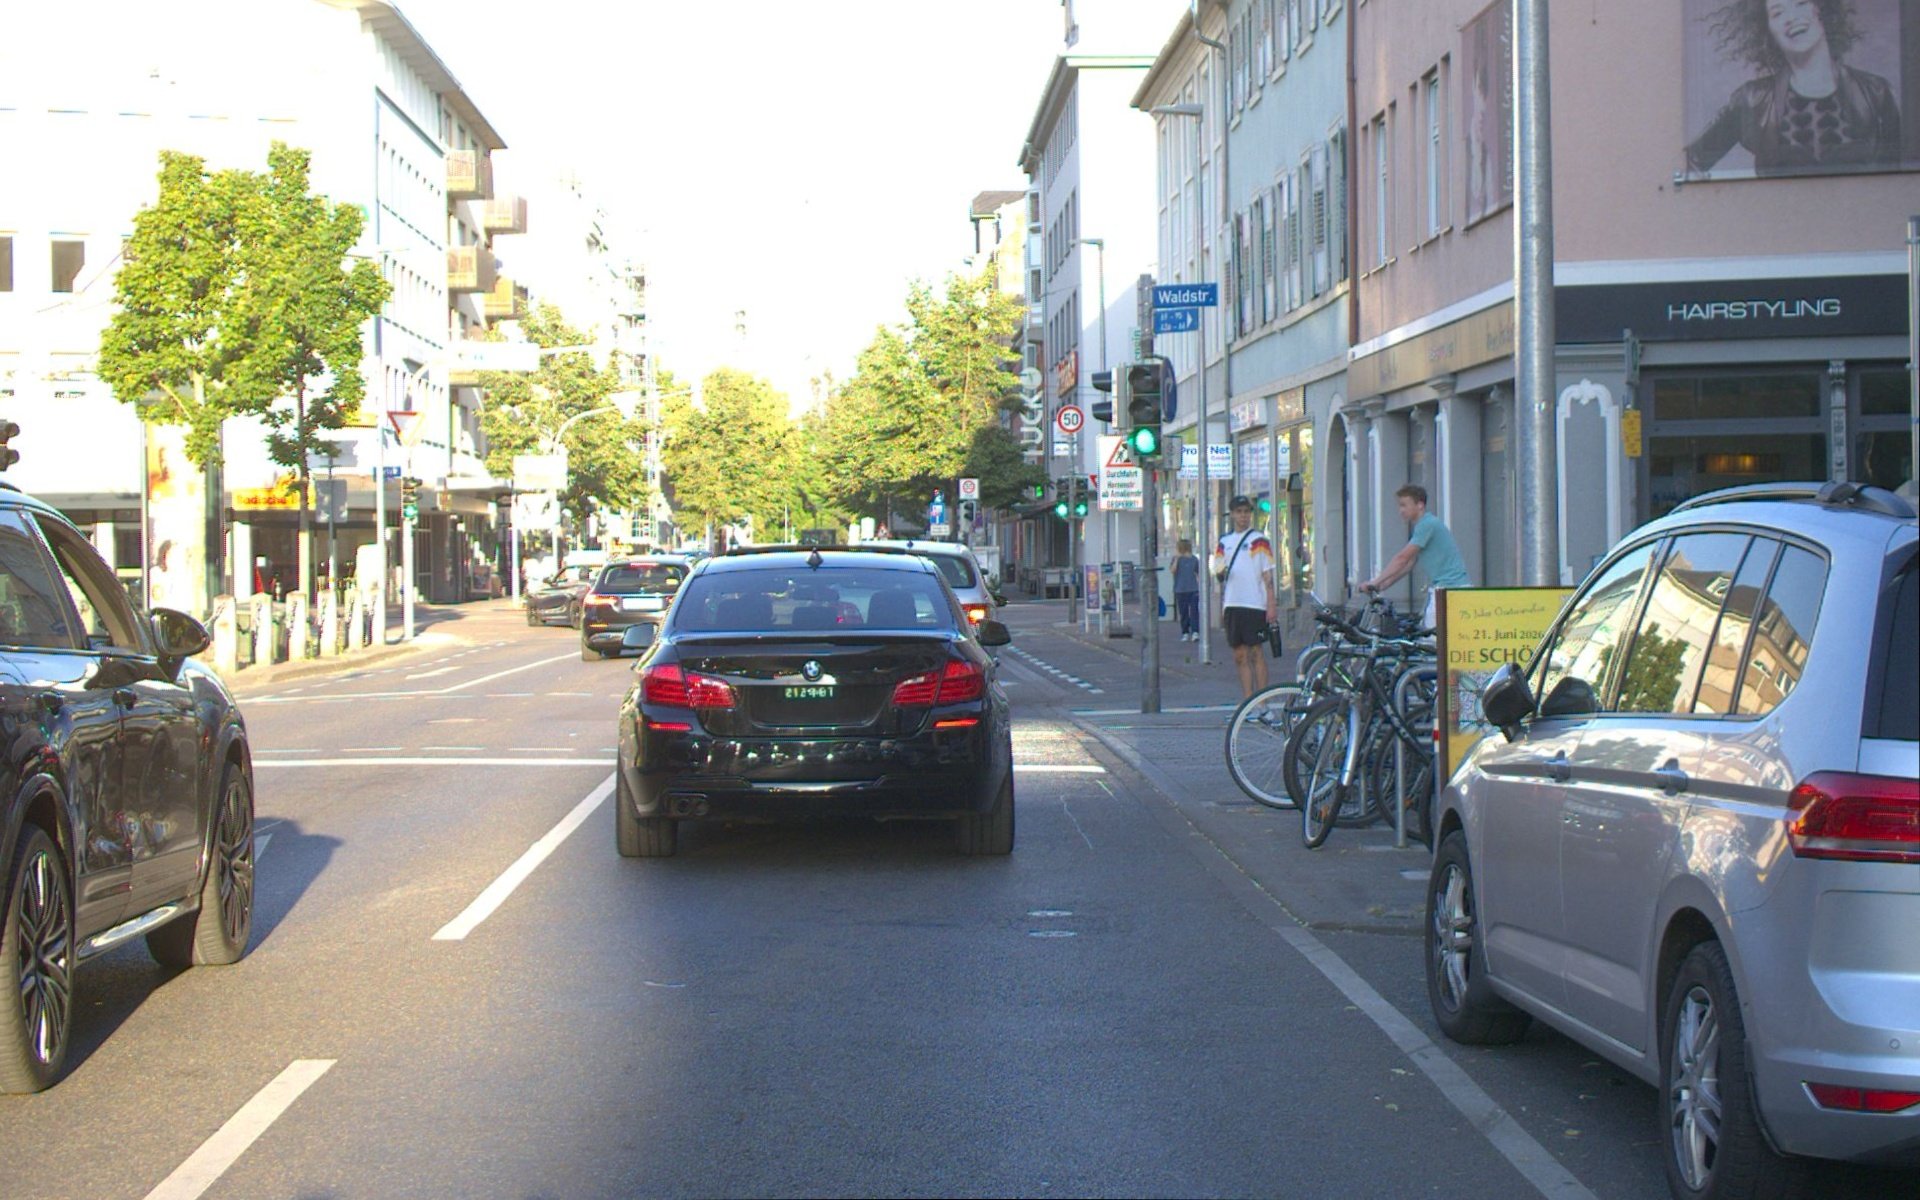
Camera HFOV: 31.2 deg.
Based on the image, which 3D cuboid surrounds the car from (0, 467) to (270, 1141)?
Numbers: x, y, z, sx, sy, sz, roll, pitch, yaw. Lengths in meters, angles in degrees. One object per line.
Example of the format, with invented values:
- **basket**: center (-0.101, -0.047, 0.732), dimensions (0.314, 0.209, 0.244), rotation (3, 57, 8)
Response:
- **car**: center (-3.472, 0.498, 10.419), dimensions (1.948, 1.708, 4.562), rotation (-1, 1, -2)

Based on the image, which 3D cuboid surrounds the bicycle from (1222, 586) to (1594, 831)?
- **bicycle**: center (2.320, 0.545, 17.847), dimensions (1.781, 1.169, 0.622), rotation (-2, 1, -12)

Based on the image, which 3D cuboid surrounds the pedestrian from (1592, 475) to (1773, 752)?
- **pedestrian**: center (4.422, 0.075, 21.024), dimensions (0.791, 1.647, 0.778), rotation (0, 1, 42)

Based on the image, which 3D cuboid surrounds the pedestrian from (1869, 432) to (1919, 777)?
- **pedestrian**: center (5.426, 0.018, 18.163), dimensions (0.823, 1.810, 0.871), rotation (-1, 1, -33)

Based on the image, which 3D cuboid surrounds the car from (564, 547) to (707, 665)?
- **car**: center (-4.578, 0.041, 48.955), dimensions (1.872, 1.590, 4.450), rotation (0, 1, -3)

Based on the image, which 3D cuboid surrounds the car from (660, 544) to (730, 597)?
- **car**: center (-8.317, -0.930, 107.687), dimensions (1.993, 1.612, 4.001), rotation (0, 1, -7)

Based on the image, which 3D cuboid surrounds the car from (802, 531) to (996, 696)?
- **car**: center (-0.586, 0.089, 34.685), dimensions (1.832, 1.570, 4.100), rotation (0, 1, 0)

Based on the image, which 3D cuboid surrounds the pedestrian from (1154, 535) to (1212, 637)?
- **pedestrian**: center (3.607, -0.226, 55.697), dimensions (0.823, 1.636, 0.871), rotation (-1, 1, -3)

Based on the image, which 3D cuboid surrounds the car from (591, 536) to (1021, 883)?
- **car**: center (-0.784, 0.445, 17.468), dimensions (1.903, 1.535, 4.450), rotation (0, 1, -3)

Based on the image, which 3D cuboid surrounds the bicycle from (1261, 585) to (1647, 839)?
- **bicycle**: center (2.468, 0.542, 17.217), dimensions (1.781, 1.169, 0.622), rotation (-2, 1, -12)

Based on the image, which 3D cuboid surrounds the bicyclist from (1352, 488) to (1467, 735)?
- **bicyclist**: center (3.364, 0.080, 25.791), dimensions (0.833, 1.820, 0.831), rotation (0, 1, 7)

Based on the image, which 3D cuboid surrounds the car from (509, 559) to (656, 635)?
- **car**: center (-7.849, -0.088, 71.227), dimensions (1.993, 1.481, 4.001), rotation (0, 1, -22)

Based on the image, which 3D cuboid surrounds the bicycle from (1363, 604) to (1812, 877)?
- **bicycle**: center (2.781, 0.606, 15.271), dimensions (1.844, 1.119, 0.595), rotation (-2, 0, -12)

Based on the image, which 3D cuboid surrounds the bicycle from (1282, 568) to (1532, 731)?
- **bicycle**: center (3.356, 0.365, 25.806), dimensions (1.820, 1.182, 0.793), rotation (-1, 1, 8)

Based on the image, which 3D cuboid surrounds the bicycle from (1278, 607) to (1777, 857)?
- **bicycle**: center (2.667, 0.604, 16.269), dimensions (2.169, 1.071, 0.806), rotation (-1, 1, -8)

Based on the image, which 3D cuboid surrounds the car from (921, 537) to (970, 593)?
- **car**: center (-0.514, -1.190, 116.649), dimensions (1.421, 1.848, 3.053), rotation (1, 0, -5)

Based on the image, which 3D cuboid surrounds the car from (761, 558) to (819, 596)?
- **car**: center (-5.959, -0.823, 120.097), dimensions (1.733, 1.288, 4.001), rotation (0, 1, -7)

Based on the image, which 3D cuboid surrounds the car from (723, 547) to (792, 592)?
- **car**: center (-6.705, -1.019, 113.307), dimensions (1.993, 1.437, 4.001), rotation (0, 1, -7)

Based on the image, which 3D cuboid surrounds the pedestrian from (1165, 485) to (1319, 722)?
- **pedestrian**: center (2.297, 0.021, 28.018), dimensions (0.937, 1.891, 0.826), rotation (-1, 1, -28)

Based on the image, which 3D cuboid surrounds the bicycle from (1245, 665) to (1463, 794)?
- **bicycle**: center (2.293, 0.745, 20.124), dimensions (1.004, 0.679, 1.051), rotation (-1, 1, -10)

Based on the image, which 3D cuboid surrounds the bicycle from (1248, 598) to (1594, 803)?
- **bicycle**: center (2.613, 0.556, 19.537), dimensions (1.781, 1.060, 0.719), rotation (-2, 1, -12)

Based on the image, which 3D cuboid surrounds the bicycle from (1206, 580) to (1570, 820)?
- **bicycle**: center (2.303, 0.526, 18.594), dimensions (1.843, 1.235, 0.639), rotation (-1, 1, -6)

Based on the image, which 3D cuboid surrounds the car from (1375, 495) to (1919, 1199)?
- **car**: center (2.332, 0.564, 8.927), dimensions (1.697, 1.611, 4.683), rotation (0, 1, -3)
